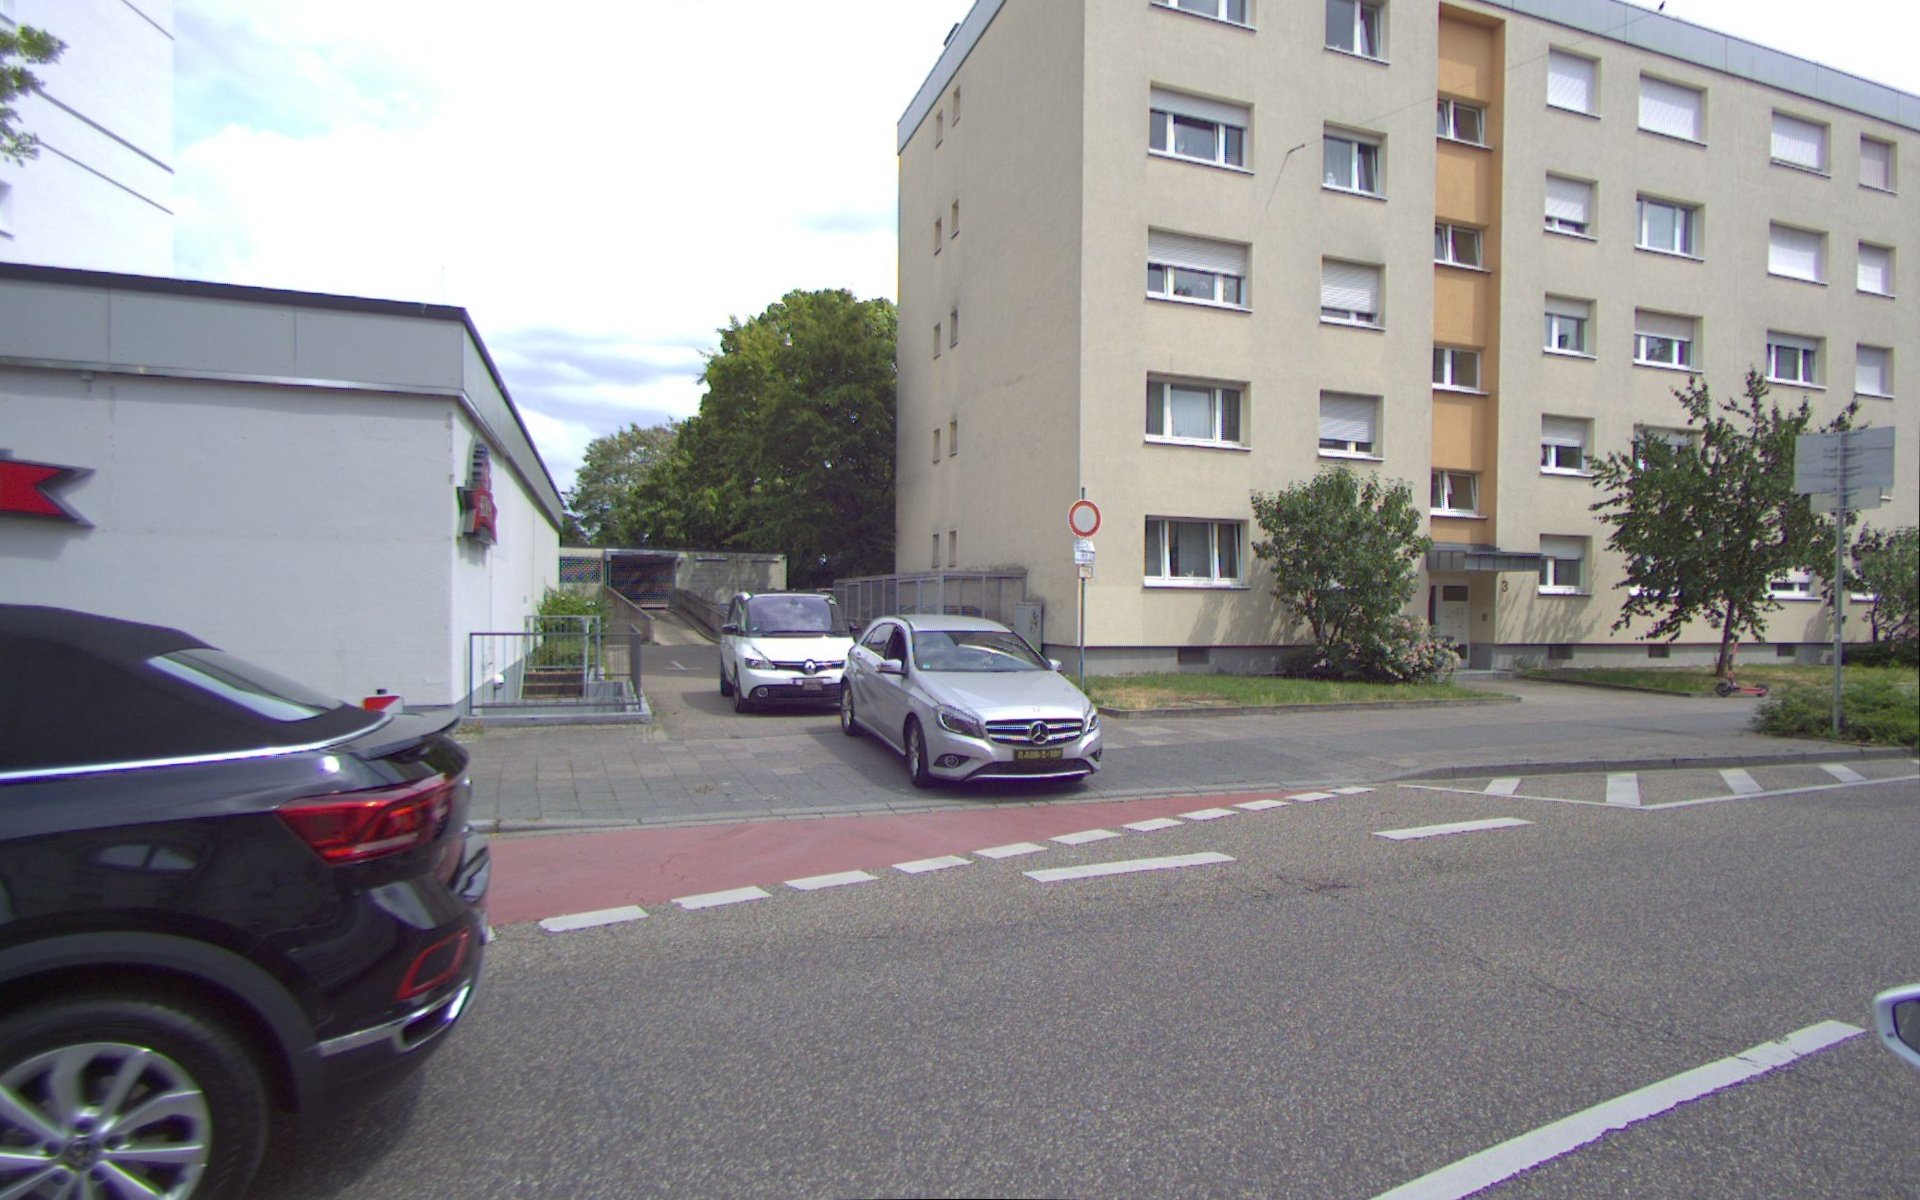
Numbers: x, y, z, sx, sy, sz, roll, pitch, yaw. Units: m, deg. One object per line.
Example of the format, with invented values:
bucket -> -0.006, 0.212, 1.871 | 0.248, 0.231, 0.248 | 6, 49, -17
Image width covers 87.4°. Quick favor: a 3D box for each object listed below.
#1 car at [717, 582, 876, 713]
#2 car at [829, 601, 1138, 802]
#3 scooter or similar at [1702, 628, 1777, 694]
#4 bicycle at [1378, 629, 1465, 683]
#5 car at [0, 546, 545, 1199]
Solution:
car -> -2.698, 0.686, 15.652 | 1.819, 1.708, 4.629 | 1, -1, -17
car -> -0.007, 0.850, 10.488 | 1.821, 1.470, 4.165 | 1, 2, -20
scooter or similar -> 14.922, 1.167, 19.231 | 1.267, 1.209, 0.402 | 1, 1, -13
bicycle -> 9.416, 1.143, 20.493 | 1.775, 1.051, 0.411 | 1, -1, -16
car -> -3.158, 0.664, 2.388 | 3.946, 1.538, 1.692 | 1, -1, -25
